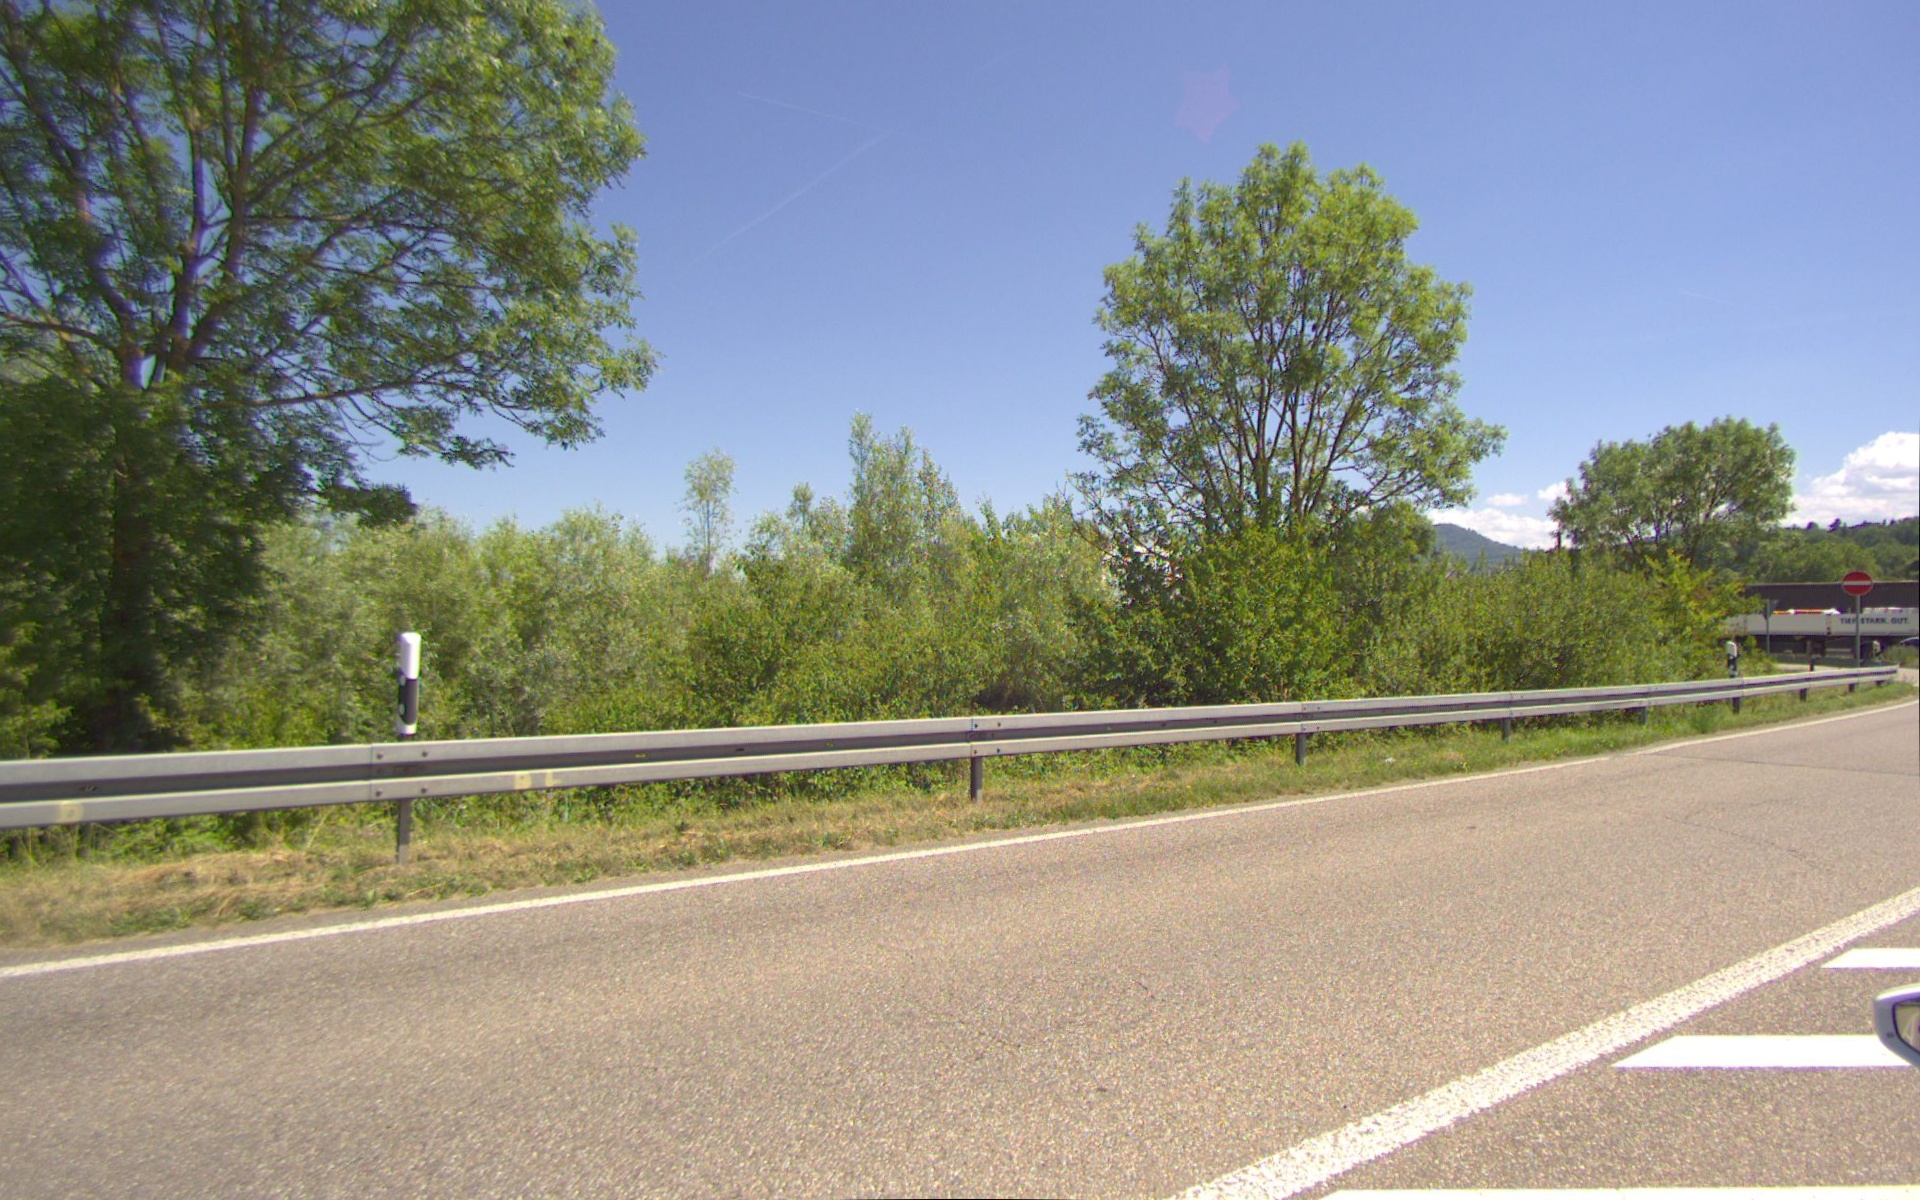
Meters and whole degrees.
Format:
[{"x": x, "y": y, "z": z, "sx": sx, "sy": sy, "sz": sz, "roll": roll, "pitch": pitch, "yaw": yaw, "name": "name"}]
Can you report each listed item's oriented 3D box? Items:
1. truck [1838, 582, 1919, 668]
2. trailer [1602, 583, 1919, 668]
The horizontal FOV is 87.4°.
[{"x": 41.363, "y": 1.003, "z": 41.441, "sx": 2.206, "sy": 3.551, "sz": 7.371, "roll": 0, "pitch": -2, "yaw": -30, "name": "truck"}, {"x": 37.622, "y": 1.297, "z": 47.719, "sx": 2.207, "sy": 3.551, "sz": 12.258, "roll": 0, "pitch": -2, "yaw": -31, "name": "trailer"}]
